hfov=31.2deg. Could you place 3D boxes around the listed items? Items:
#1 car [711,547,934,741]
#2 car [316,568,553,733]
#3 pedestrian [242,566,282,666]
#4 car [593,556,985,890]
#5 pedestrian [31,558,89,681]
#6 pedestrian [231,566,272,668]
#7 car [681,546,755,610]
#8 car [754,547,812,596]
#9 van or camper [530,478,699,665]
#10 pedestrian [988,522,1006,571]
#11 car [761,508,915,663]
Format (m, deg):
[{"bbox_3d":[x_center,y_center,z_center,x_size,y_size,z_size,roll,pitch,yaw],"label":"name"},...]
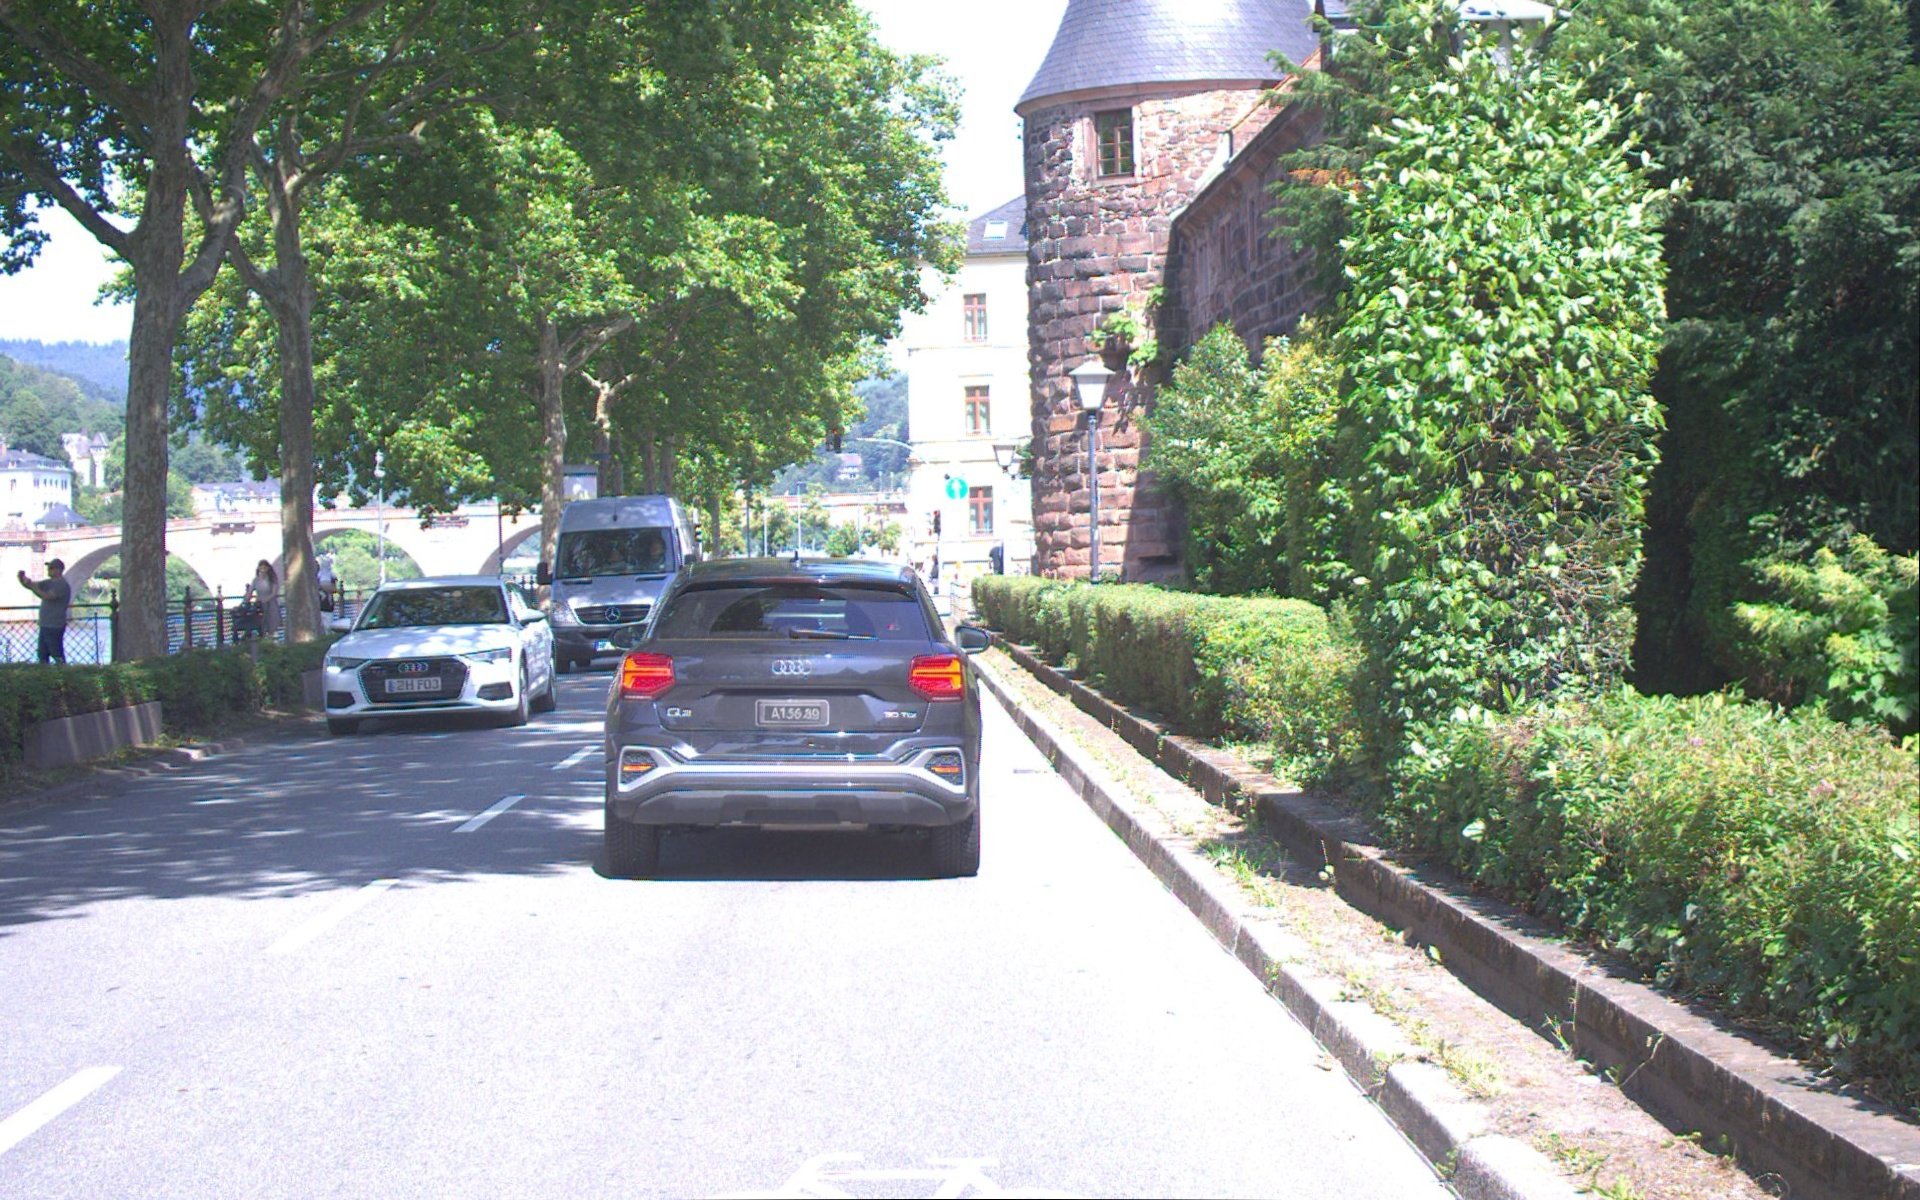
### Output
[{"bbox_3d":[-1.178,0.347,30.914,1.801,1.557,3.716,-3,1,0],"label":"car"},{"bbox_3d":[-5.096,0.446,33.850,1.769,1.452,4.534,-2,1,-2],"label":"car"},{"bbox_3d":[-11.071,0.250,54.512,0.457,1.549,0.586,-2,1,-1],"label":"pedestrian"},{"bbox_3d":[-0.850,0.532,17.285,1.748,1.489,3.629,1,1,-3],"label":"car"},{"bbox_3d":[-11.876,0.253,45.362,0.644,1.613,0.459,1,0,-3],"label":"pedestrian"},{"bbox_3d":[-10.993,0.263,53.342,0.457,1.549,0.586,-2,1,-2],"label":"pedestrian"},{"bbox_3d":[-6.798,-0.643,96.811,1.877,1.692,4.259,-3,1,-2],"label":"car"},{"bbox_3d":[-6.259,-1.019,121.810,1.763,1.642,4.090,-2,1,1],"label":"car"},{"bbox_3d":[-5.162,-0.433,52.010,1.960,2.558,5.841,-3,0,-1],"label":"van or camper"},{"bbox_3d":[1.217,-1.757,113.419,0.557,1.627,0.660,0,0,0],"label":"pedestrian"},{"bbox_3d":[-1.689,-0.228,48.171,1.993,2.007,4.000,-2,1,-1],"label":"car"}]
